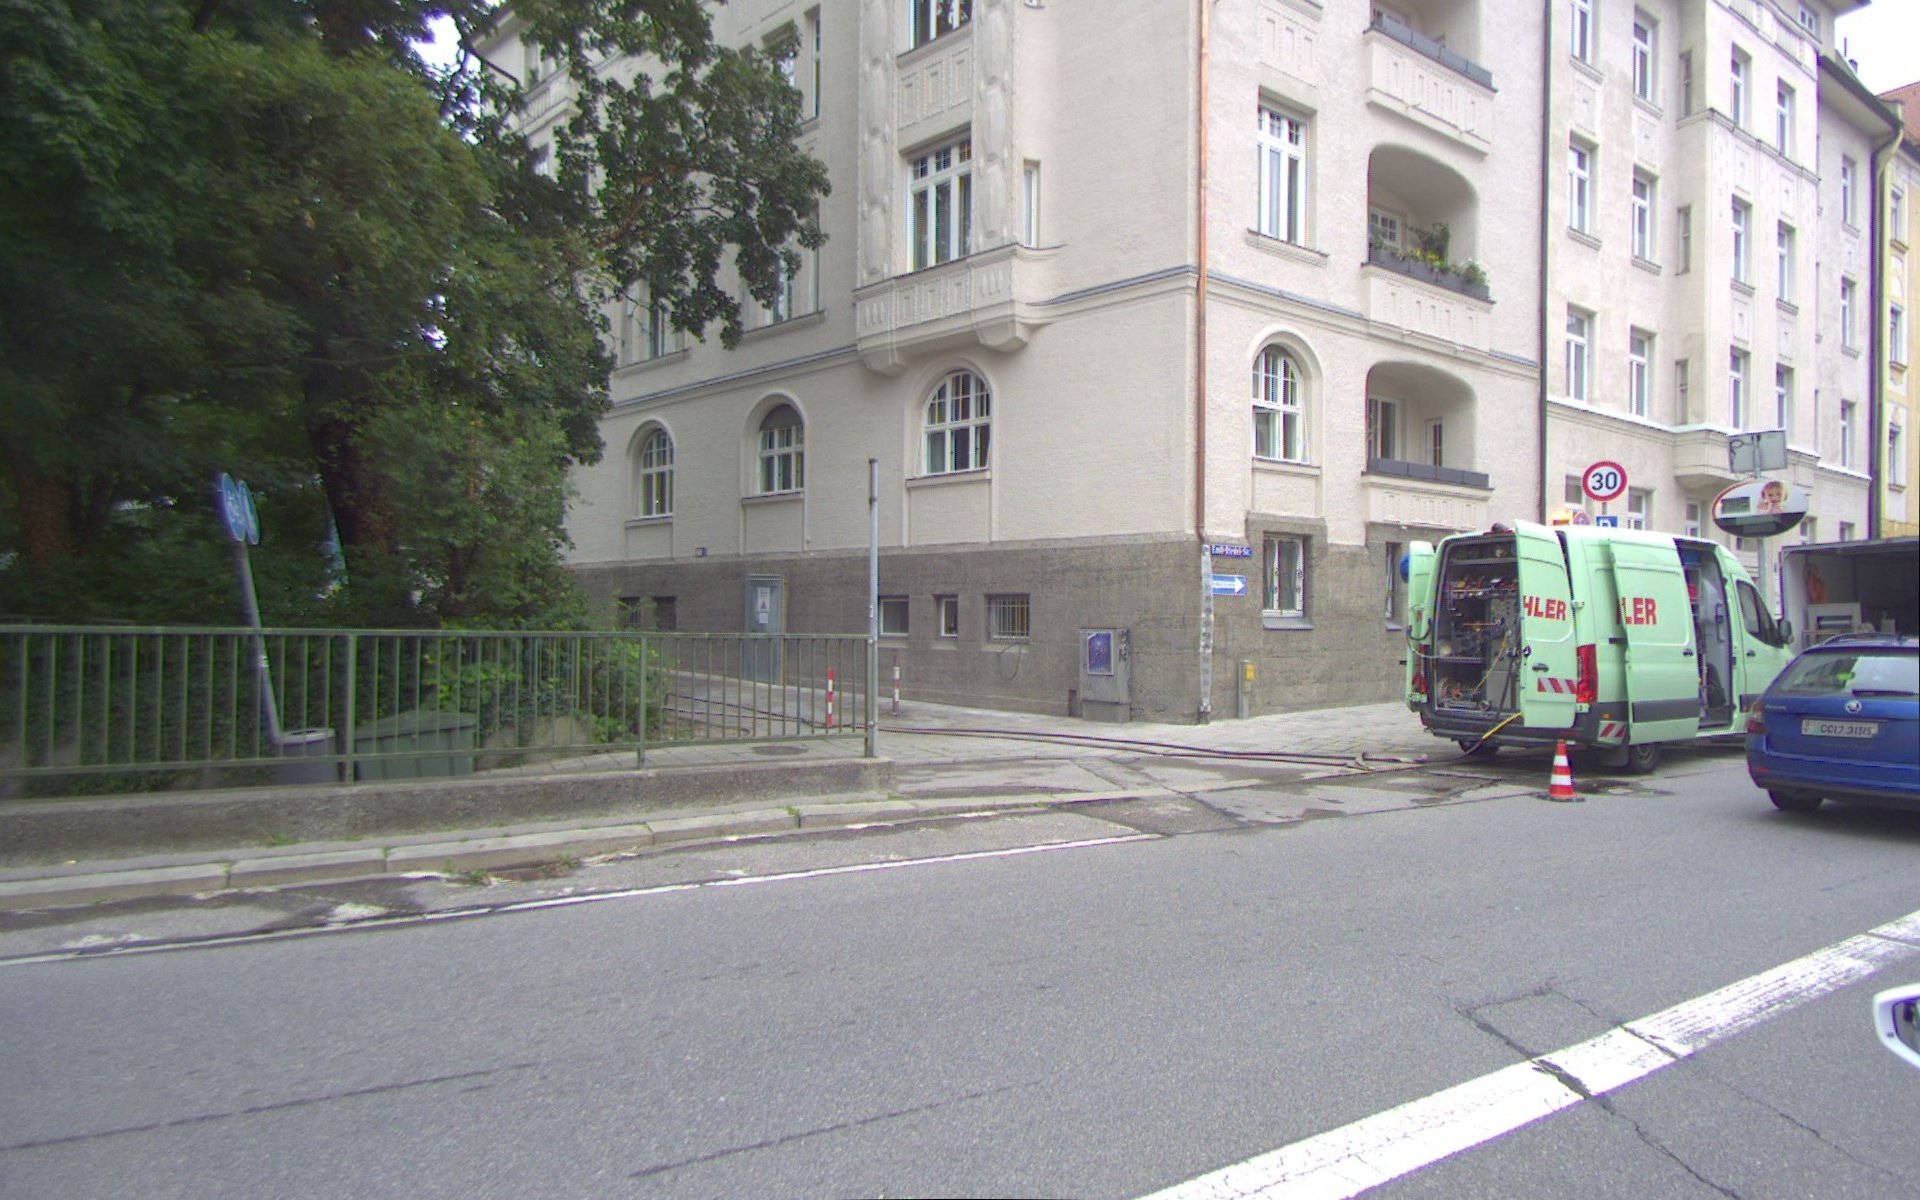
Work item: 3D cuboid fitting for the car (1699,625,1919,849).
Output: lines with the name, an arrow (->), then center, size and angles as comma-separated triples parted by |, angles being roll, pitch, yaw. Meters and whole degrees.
car -> 8.068, 0.966, 8.097 | 4.261, 1.479, 1.782 | 1, -1, -28

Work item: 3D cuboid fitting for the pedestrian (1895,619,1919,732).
pedestrian -> 14.377, 1.108, 14.835 | 0.752, 1.652, 0.634 | -1, -2, 38

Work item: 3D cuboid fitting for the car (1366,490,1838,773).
car -> 7.871, 0.351, 11.980 | 6.720, 2.606, 2.129 | 1, -1, -33

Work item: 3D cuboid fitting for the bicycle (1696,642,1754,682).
bicycle -> 18.681, 1.509, 24.520 | 1.735, 0.927, 0.413 | 2, 2, -28

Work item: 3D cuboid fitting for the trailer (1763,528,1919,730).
trailer -> 17.275, 0.479, 17.334 | 7.511, 3.007, 2.791 | 0, -4, -31

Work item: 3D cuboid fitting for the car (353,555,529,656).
car -> -17.828, 0.264, 34.717 | 2.442, 3.216, 4.793 | 0, -2, 33
